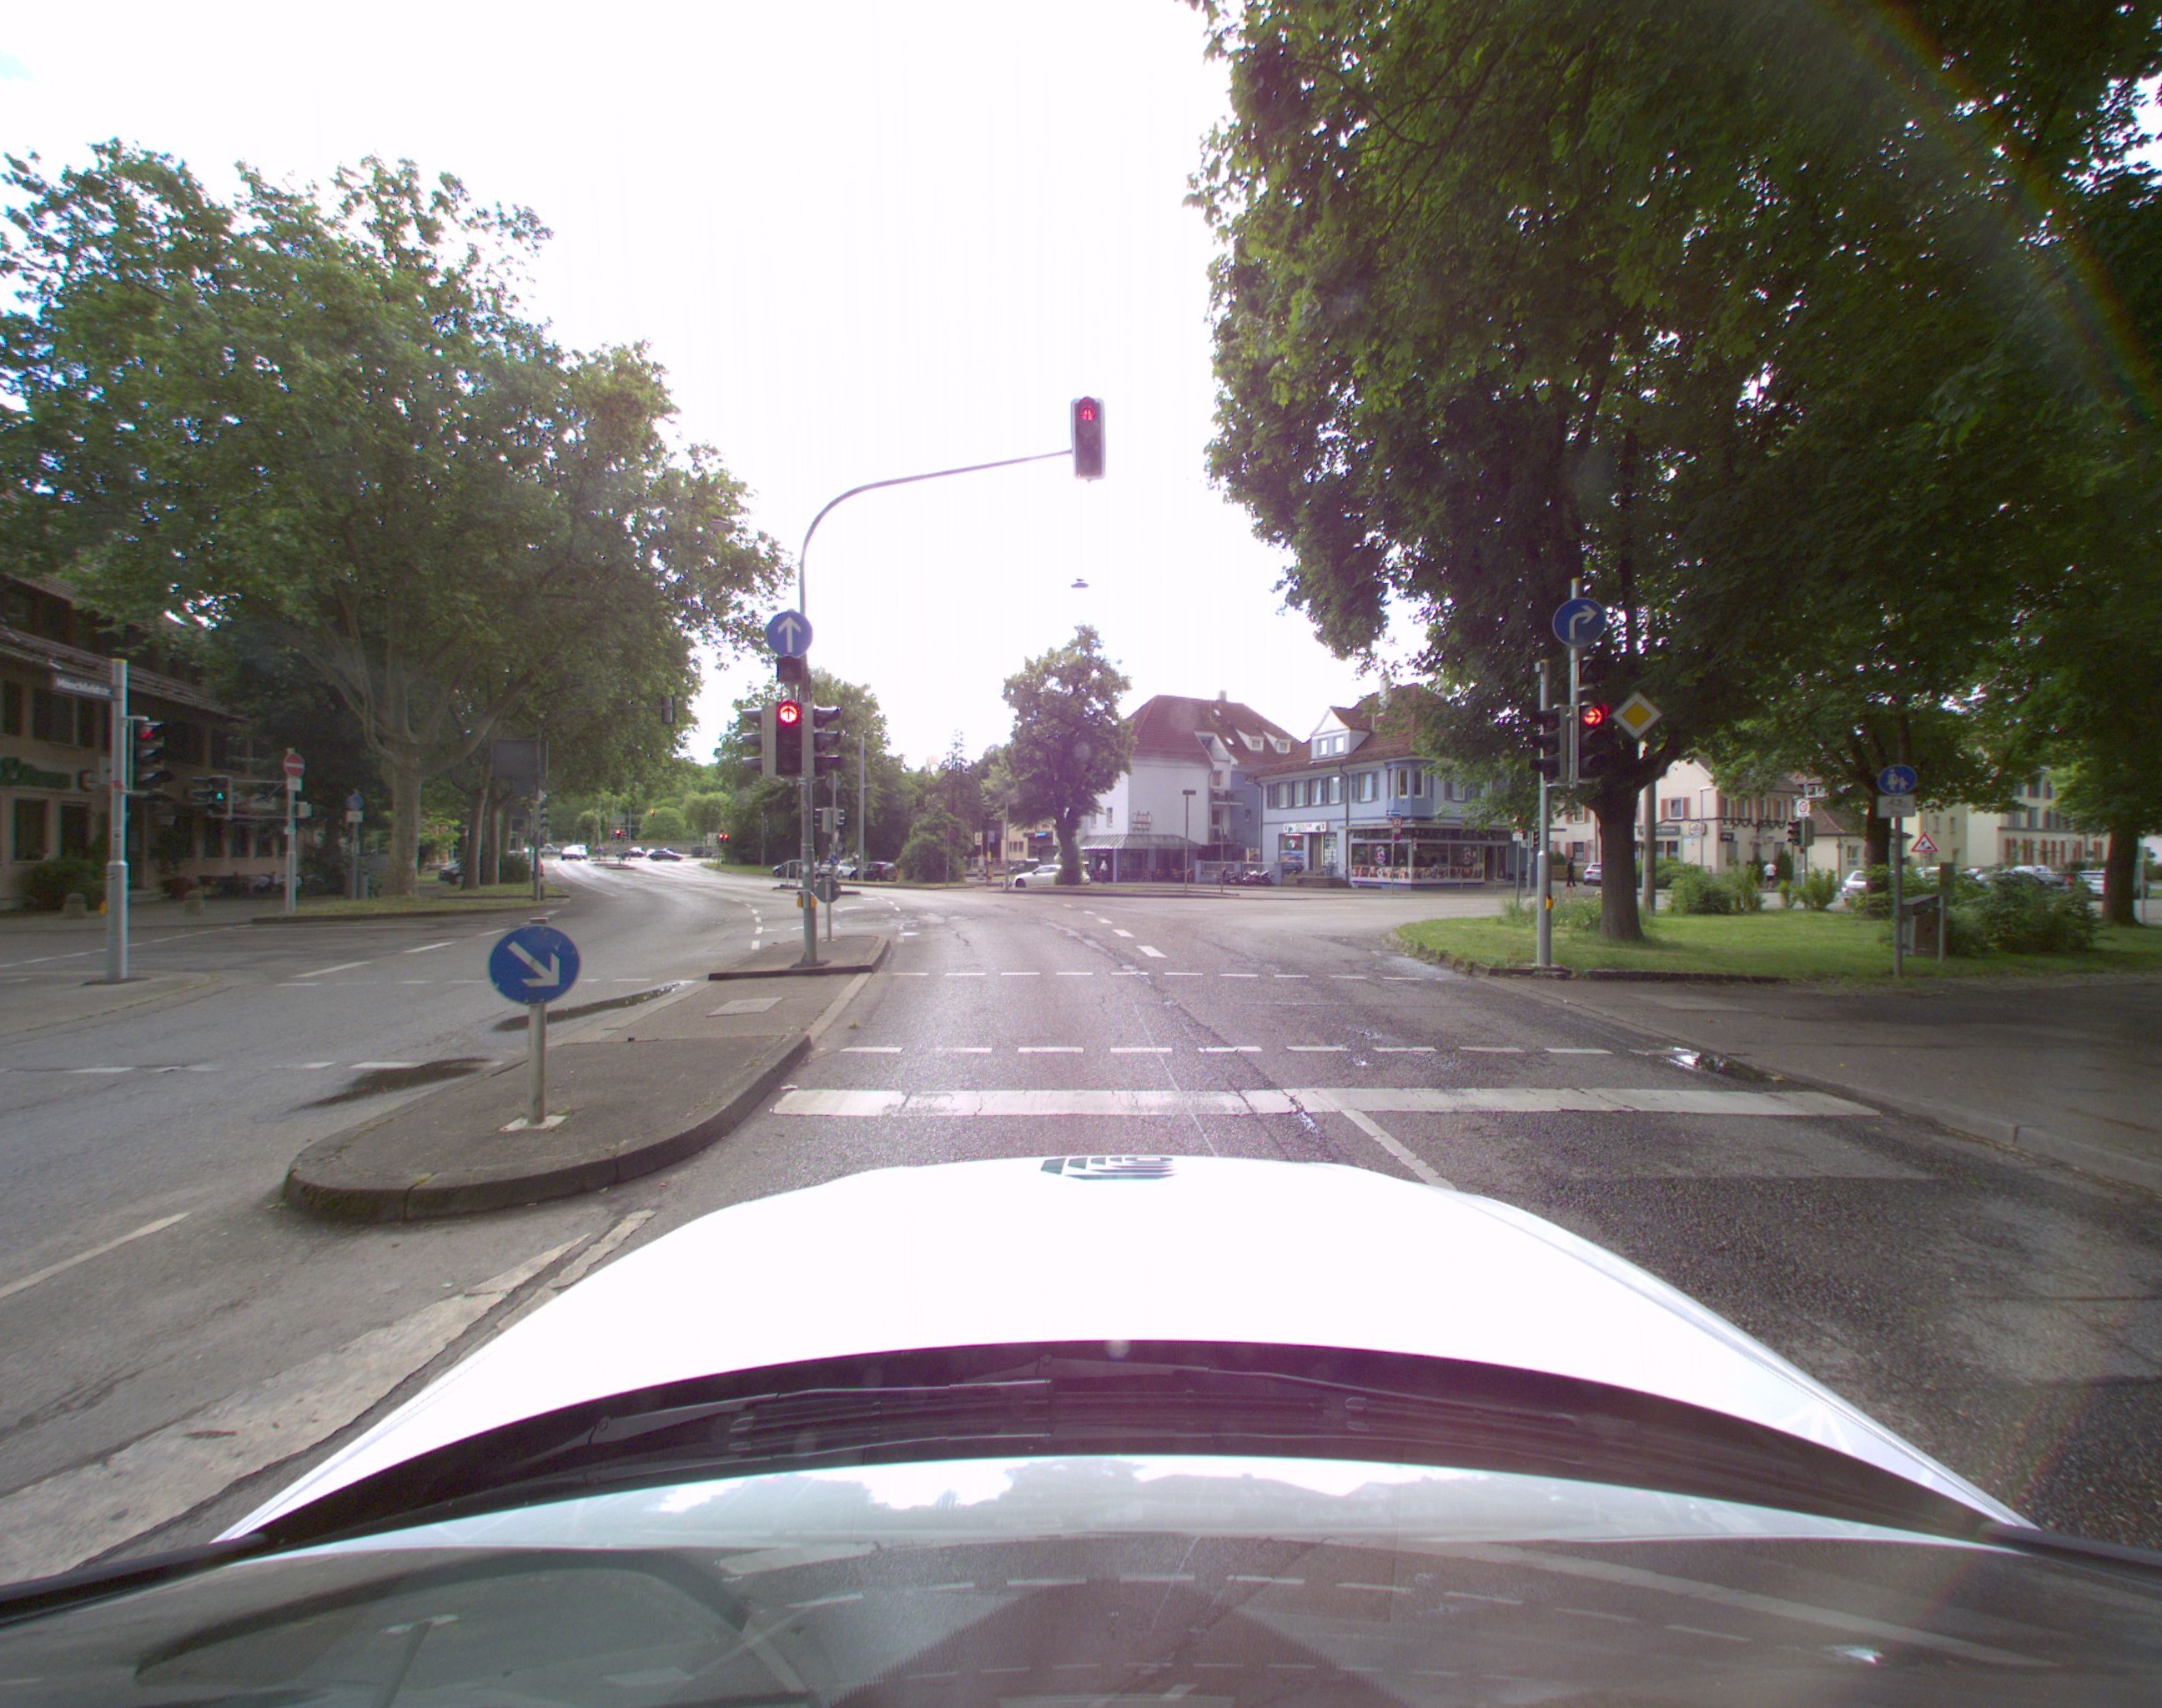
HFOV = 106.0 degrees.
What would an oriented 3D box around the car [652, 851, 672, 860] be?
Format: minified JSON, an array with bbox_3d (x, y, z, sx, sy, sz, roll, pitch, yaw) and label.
[{"bbox_3d":[-95.488,0.438,185.609,4.011,2.014,1.981,0,-1,-29],"label":"car"}]

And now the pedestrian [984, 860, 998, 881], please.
[{"bbox_3d":[-6.507,1.192,58.931,0.699,1.545,0.682,-1,-1,42],"label":"pedestrian"}]

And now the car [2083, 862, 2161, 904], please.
[{"bbox_3d":[52.833,1.437,41.124,4.004,2.014,1.770,0,-1,-23],"label":"car"}]

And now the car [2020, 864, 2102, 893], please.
[{"bbox_3d":[47.005,1.168,39.058,3.511,1.321,1.549,0,0,-22],"label":"car"}]

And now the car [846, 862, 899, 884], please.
[{"bbox_3d":[-13.904,1.267,54.207,3.549,1.394,1.481,0,-1,34],"label":"car"}]

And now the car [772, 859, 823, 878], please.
[{"bbox_3d":[-22.435,1.115,64.487,3.520,1.464,1.591,0,0,14],"label":"car"}]

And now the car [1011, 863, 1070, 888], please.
[{"bbox_3d":[-2.306,1.203,46.240,3.134,1.354,1.448,0,-1,36],"label":"car"}]

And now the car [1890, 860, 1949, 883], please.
[{"bbox_3d":[55.118,1.129,53.528,4.007,1.420,1.544,0,0,-26],"label":"car"}]

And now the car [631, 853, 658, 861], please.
[{"bbox_3d":[-78.841,0.555,147.229,3.993,1.551,1.860,0,0,-15],"label":"car"}]

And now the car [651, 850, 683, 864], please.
[{"bbox_3d":[-62.109,0.449,122.273,3.993,2.014,1.855,0,-1,-14],"label":"car"}]

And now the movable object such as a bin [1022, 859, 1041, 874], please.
[{"bbox_3d":[-4.520,1.135,74.250,1.447,1.409,0.959,0,-1,-25],"label":"movable object such as a bin"}]

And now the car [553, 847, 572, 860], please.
[{"bbox_3d":[-57.418,-0.066,90.132,1.440,1.416,2.838,0,-1,-39],"label":"car"}]

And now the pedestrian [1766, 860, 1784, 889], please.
[{"bbox_3d":[40.753,1.189,47.806,0.611,1.649,0.606,0,-1,-27],"label":"pedestrian"}]

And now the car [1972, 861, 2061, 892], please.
[{"bbox_3d":[42.218,0.978,36.751,3.510,1.321,1.549,0,0,-21],"label":"car"}]

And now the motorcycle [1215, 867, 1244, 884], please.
[{"bbox_3d":[9.116,1.315,50.078,0.699,1.064,1.617,0,-1,-44],"label":"motorcycle"}]

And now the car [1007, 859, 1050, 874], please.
[{"bbox_3d":[-4.877,1.137,76.157,3.752,1.345,1.422,0,0,-25],"label":"car"}]

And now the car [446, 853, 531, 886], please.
[{"bbox_3d":[-30.999,0.784,42.720,3.461,1.641,1.557,0,-1,-31],"label":"car"}]

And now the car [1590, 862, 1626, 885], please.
[{"bbox_3d":[32.605,1.186,50.340,1.481,1.369,3.198,-1,-1,40],"label":"car"}]

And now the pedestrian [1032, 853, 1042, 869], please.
[{"bbox_3d":[-4.264,0.716,79.122,0.681,1.545,0.701,0,-1,-32],"label":"pedestrian"}]

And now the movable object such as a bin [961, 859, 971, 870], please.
[{"bbox_3d":[-12.217,1.122,86.641,0.953,1.115,0.381,0,-1,-19],"label":"movable object such as a bin"}]

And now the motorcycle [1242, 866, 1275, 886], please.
[{"bbox_3d":[10.537,1.289,48.264,1.777,1.121,0.699,0,-1,40],"label":"motorcycle"}]

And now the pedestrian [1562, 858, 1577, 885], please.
[{"bbox_3d":[27.928,1.003,46.550,0.462,1.517,0.581,0,-1,-38],"label":"pedestrian"}]

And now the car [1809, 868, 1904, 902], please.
[{"bbox_3d":[31.965,1.253,33.567,3.511,1.321,1.549,0,0,-22],"label":"car"}]

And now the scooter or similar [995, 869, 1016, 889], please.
[{"bbox_3d":[-3.975,1.291,42.883,0.413,1.011,1.575,-1,-1,22],"label":"scooter or similar"}]

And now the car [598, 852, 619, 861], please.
[{"bbox_3d":[-106.168,0.496,183.034,4.011,2.014,1.981,0,-1,-29],"label":"car"}]

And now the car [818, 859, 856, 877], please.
[{"bbox_3d":[-20.076,1.132,67.189,1.534,1.464,3.407,0,0,13],"label":"car"}]

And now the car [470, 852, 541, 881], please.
[{"bbox_3d":[-35.481,0.757,50.286,3.461,1.742,1.557,0,-1,-31],"label":"car"}]

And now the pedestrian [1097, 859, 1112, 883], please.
[{"bbox_3d":[1.563,1.132,54.420,0.759,1.545,0.682,-1,-1,41],"label":"pedestrian"}]
